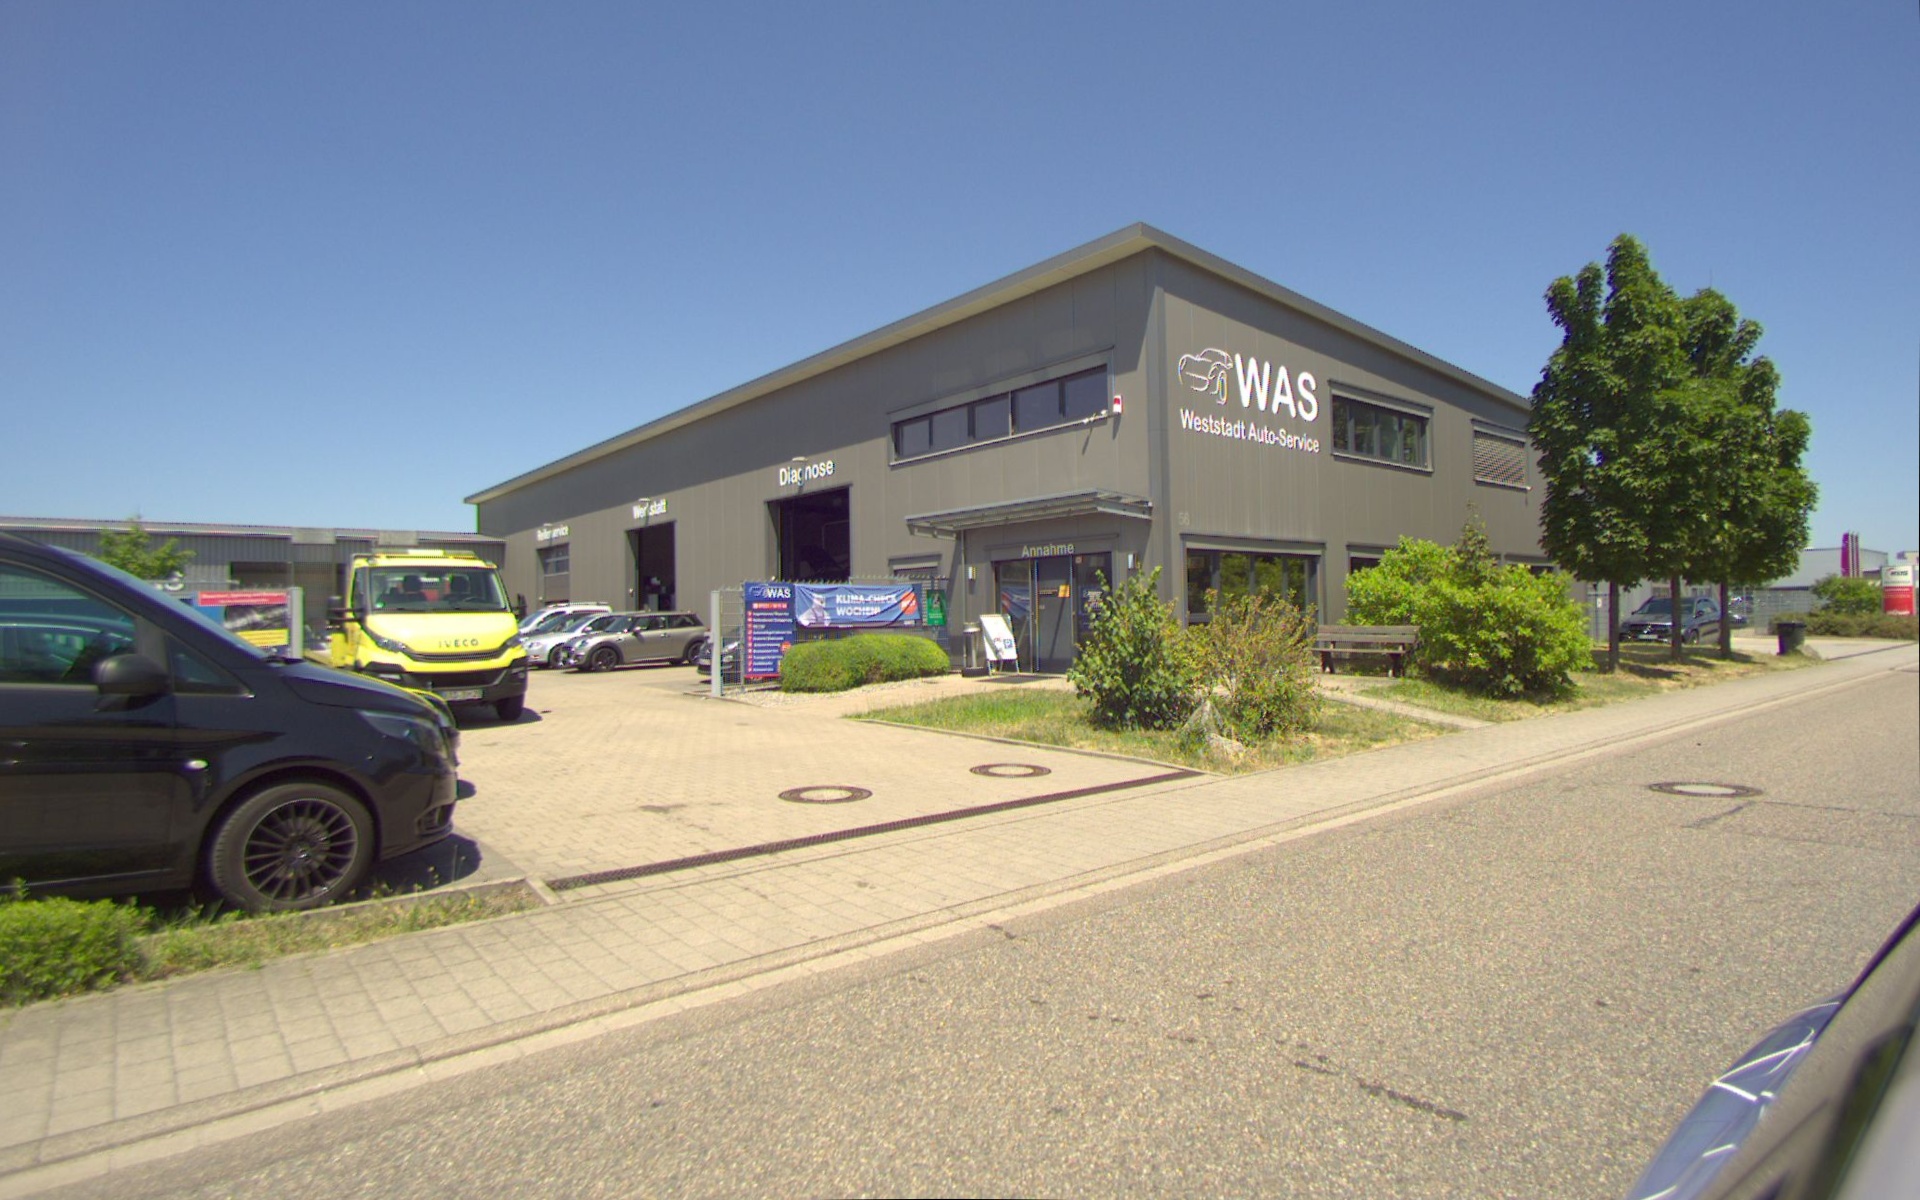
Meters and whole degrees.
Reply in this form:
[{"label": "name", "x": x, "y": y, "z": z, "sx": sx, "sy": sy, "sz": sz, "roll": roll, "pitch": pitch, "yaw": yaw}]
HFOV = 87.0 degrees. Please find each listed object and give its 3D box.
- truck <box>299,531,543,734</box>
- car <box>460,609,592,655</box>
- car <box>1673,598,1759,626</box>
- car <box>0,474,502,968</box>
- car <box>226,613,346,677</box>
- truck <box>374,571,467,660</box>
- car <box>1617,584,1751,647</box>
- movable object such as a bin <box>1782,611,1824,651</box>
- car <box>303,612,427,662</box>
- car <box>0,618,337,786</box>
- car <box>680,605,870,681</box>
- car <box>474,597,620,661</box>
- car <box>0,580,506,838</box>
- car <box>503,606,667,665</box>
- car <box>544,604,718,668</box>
[{"label": "truck", "x": -8.192, "y": 0.387, "z": 15.007, "sx": 2.141, "sy": 2.400, "sz": 5.946, "roll": -1, "pitch": 0, "yaw": -39}, {"label": "car", "x": -14.410, "y": 1.049, "z": 33.662, "sx": 3.690, "sy": 1.354, "sz": 1.720, "roll": -1, "pitch": -1, "yaw": -39}, {"label": "car", "x": 39.454, "y": 0.640, "z": 52.860, "sx": 1.763, "sy": 1.387, "sz": 3.352, "roll": 0, "pitch": -1, "yaw": -44}, {"label": "car", "x": -5.107, "y": 0.519, "z": 4.540, "sx": 5.241, "sy": 2.039, "sz": 1.997, "roll": 0, "pitch": -1, "yaw": -40}, {"label": "car", "x": -16.880, "y": 1.126, "z": 25.276, "sx": 3.902, "sy": 1.435, "sz": 1.695, "roll": -3, "pitch": -1, "yaw": 44}, {"label": "truck", "x": -21.758, "y": 0.647, "z": 40.664, "sx": 2.314, "sy": 3.285, "sz": 6.266, "roll": -1, "pitch": -1, "yaw": -37}, {"label": "car", "x": 22.842, "y": 0.426, "z": 31.872, "sx": 4.824, "sy": 1.833, "sz": 2.157, "roll": -1, "pitch": 0, "yaw": -38}, {"label": "movable object such as a bin", "x": 23.263, "y": 0.850, "z": 27.937, "sx": 0.793, "sy": 1.059, "sz": 0.618, "roll": -1, "pitch": -1, "yaw": -28}, {"label": "car", "x": -19.844, "y": 1.211, "z": 33.953, "sx": 1.691, "sy": 1.516, "sz": 3.996, "roll": -2, "pitch": -1, "yaw": 3}, {"label": "car", "x": -8.214, "y": 0.859, "z": 9.282, "sx": 4.041, "sy": 1.388, "sz": 1.806, "roll": 1, "pitch": -2, "yaw": -40}, {"label": "car", "x": -3.733, "y": 0.820, "z": 20.672, "sx": 3.507, "sy": 1.322, "sz": 1.589, "roll": -1, "pitch": 1, "yaw": -39}, {"label": "car", "x": -12.867, "y": 0.867, "z": 31.627, "sx": 3.861, "sy": 1.823, "sz": 1.720, "roll": -1, "pitch": -1, "yaw": -39}, {"label": "car", "x": -5.939, "y": 0.684, "z": 7.295, "sx": 4.508, "sy": 1.556, "sz": 1.997, "roll": 1, "pitch": -2, "yaw": -40}, {"label": "car", "x": -10.248, "y": 0.940, "z": 27.764, "sx": 3.846, "sy": 1.435, "sz": 1.720, "roll": -1, "pitch": -1, "yaw": -39}, {"label": "car", "x": -8.350, "y": 0.878, "z": 25.836, "sx": 3.846, "sy": 1.435, "sz": 1.720, "roll": -1, "pitch": -1, "yaw": -39}]
